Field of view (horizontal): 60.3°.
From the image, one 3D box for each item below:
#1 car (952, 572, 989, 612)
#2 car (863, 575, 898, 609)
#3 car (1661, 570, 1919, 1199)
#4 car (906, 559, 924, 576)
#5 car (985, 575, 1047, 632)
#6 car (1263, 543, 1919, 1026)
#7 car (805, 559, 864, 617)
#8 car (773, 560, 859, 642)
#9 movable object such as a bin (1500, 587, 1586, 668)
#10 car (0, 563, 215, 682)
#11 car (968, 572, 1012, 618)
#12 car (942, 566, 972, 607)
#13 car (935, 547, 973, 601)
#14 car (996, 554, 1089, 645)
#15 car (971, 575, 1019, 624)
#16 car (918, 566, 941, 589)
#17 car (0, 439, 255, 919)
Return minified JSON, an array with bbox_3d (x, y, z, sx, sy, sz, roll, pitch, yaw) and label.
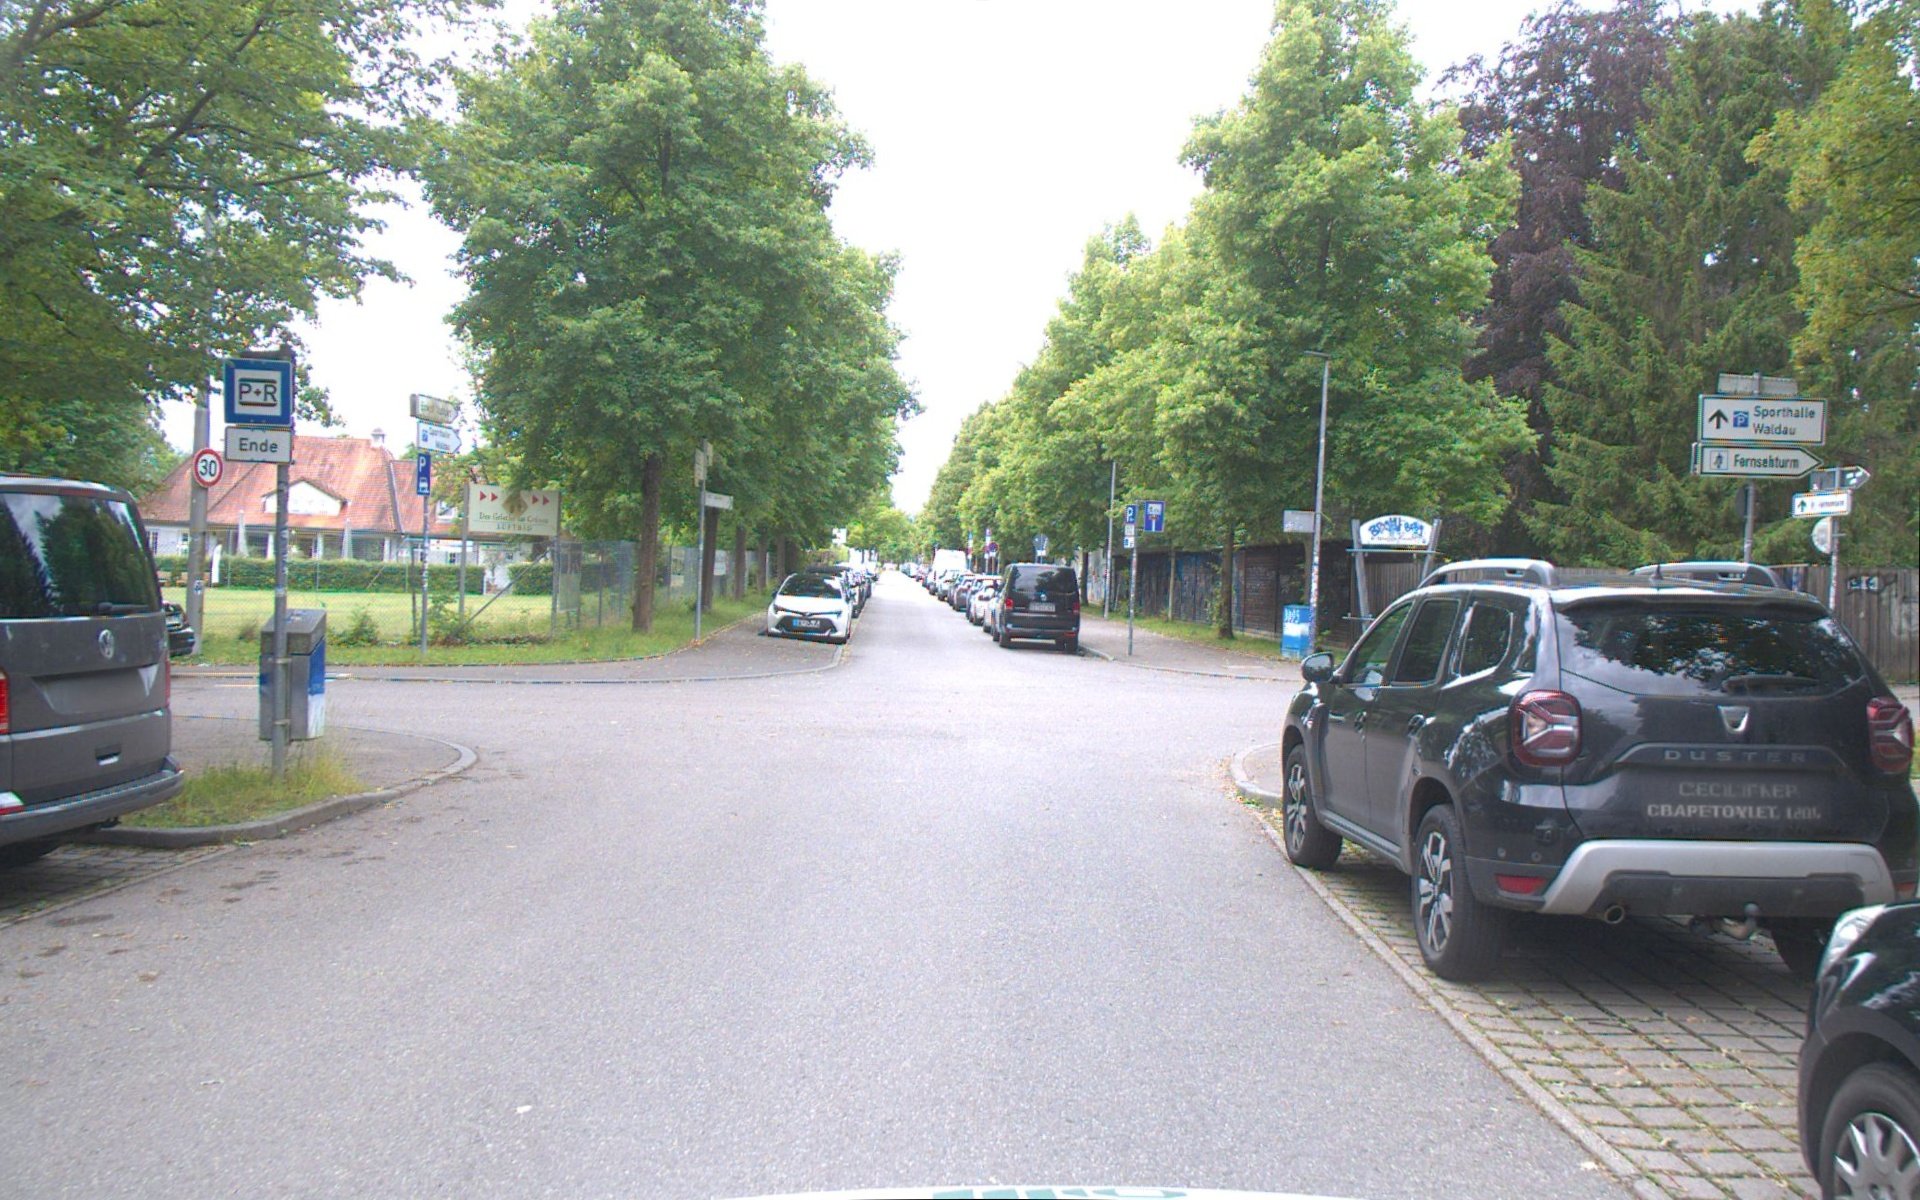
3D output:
[{"bbox_3d":[0.422,-0.344,68.064,1.439,1.558,3.188,1,1,-1],"label":"car"},{"bbox_3d":[-3.832,-0.388,79.503,1.562,1.586,3.191,0,1,-5],"label":"car"},{"bbox_3d":[2.794,0.727,2.325,1.701,1.521,4.232,1,0,-2],"label":"car"},{"bbox_3d":[-5.184,-3.730,190.784,1.859,1.736,4.064,1,0,1],"label":"car"},{"bbox_3d":[1.545,0.070,46.785,1.565,1.507,3.520,1,1,-1],"label":"car"},{"bbox_3d":[2.786,0.636,7.977,1.701,1.662,4.374,1,0,-2],"label":"car"},{"bbox_3d":[-3.882,-0.383,51.202,1.658,1.623,3.996,4,1,-4],"label":"car"},{"bbox_3d":[-3.214,-0.002,37.157,1.731,1.623,4.212,4,1,-5],"label":"car"},{"bbox_3d":[10.809,0.506,30.643,1.060,1.468,1.277,1,-1,44],"label":"movable object such as a bin"},{"bbox_3d":[-12.685,0.289,22.526,4.224,1.520,1.772,0,2,0],"label":"car"},{"bbox_3d":[1.058,-0.188,59.091,1.439,1.558,3.188,1,1,-1],"label":"car"},{"bbox_3d":[-0.179,-0.693,83.925,1.439,2.002,3.188,1,1,-1],"label":"car"},{"bbox_3d":[-0.371,-1.527,97.535,2.140,3.068,4.896,1,1,-1],"label":"car"},{"bbox_3d":[1.933,-0.040,39.977,1.948,2.049,4.107,1,1,-1],"label":"car"},{"bbox_3d":[1.113,-0.029,53.968,1.439,1.507,3.188,1,1,-1],"label":"car"},{"bbox_3d":[-2.911,-2.154,157.406,1.952,2.049,4.000,1,0,1],"label":"car"},{"bbox_3d":[-5.957,0.289,7.774,4.413,2.013,1.889,1,0,-4],"label":"car"}]
